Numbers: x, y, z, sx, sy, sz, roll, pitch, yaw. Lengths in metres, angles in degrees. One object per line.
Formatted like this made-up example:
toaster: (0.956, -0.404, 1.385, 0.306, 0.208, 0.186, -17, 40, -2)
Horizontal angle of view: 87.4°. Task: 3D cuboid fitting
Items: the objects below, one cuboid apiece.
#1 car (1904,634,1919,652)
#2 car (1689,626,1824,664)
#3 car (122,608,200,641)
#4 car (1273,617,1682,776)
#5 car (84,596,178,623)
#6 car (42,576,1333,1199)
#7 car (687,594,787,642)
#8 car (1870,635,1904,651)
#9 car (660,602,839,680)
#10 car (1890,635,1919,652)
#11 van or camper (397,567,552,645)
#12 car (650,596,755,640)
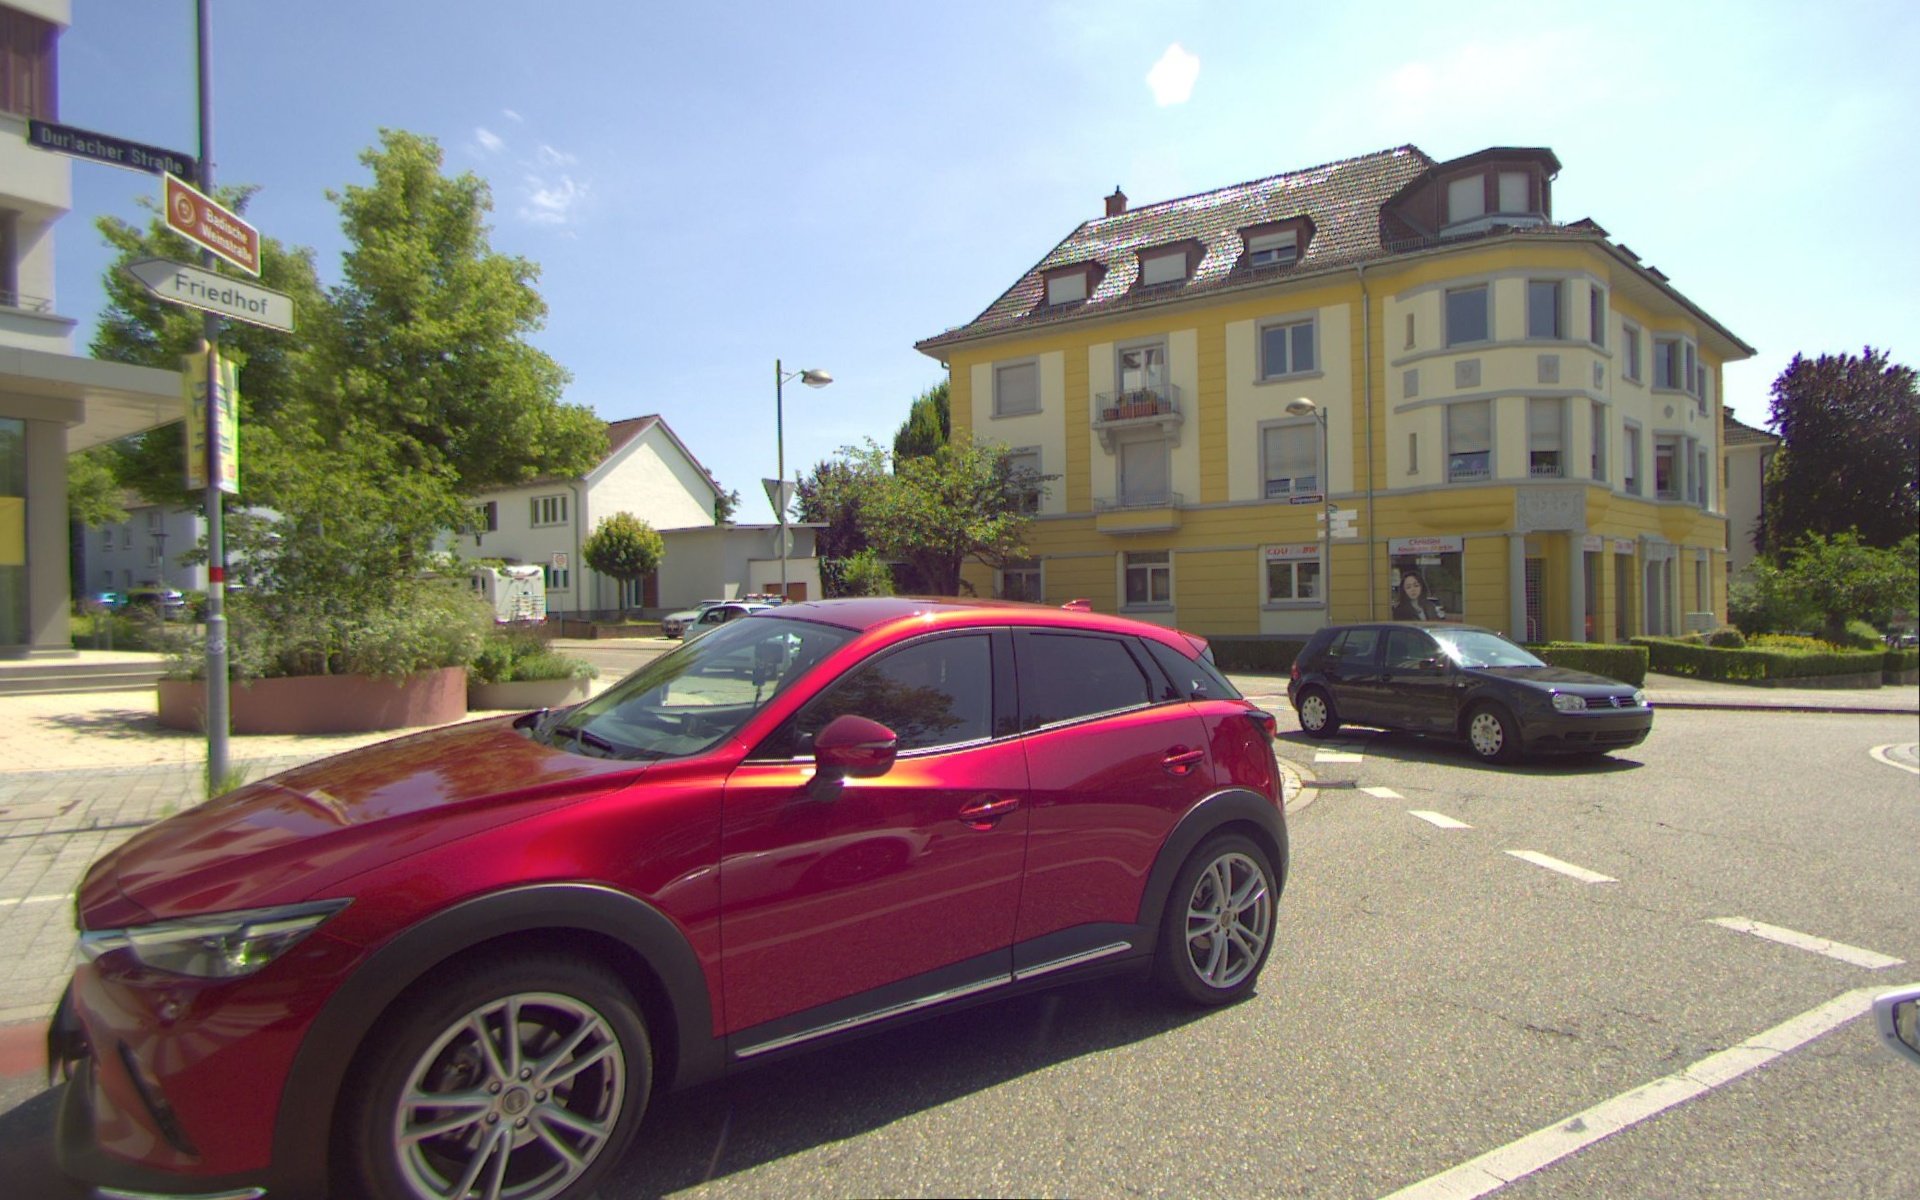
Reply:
car: (85.502, 3.796, 89.002, 1.966, 1.529, 4.406, 0, -1, 34)
car: (34.753, 1.933, 43.976, 4.339, 1.529, 1.997, 0, -1, 29)
car: (-39.058, 1.171, 49.086, 3.923, 1.525, 1.752, 0, -1, 32)
car: (5.681, 0.959, 11.620, 1.692, 1.466, 4.034, -1, -1, -24)
car: (-50.826, 0.603, 61.667, 1.782, 1.630, 4.117, 1, -1, 24)
car: (-0.550, 0.749, 3.671, 3.955, 1.525, 1.738, 1, -1, -37)
car: (-7.916, 0.619, 36.007, 1.721, 1.607, 3.993, 0, -1, 17)
car: (95.139, 4.382, 103.085, 1.967, 1.508, 3.987, 2, 0, 35)
car: (-4.819, 0.853, 22.775, 4.094, 1.545, 1.654, 1, 1, 36)
car: (88.763, 4.029, 93.882, 1.966, 1.529, 4.406, 0, -1, 34)
van or camper: (-17.855, 0.153, 36.862, 5.782, 2.674, 2.269, 0, 2, 31)
car: (-9.873, 0.695, 38.777, 1.724, 1.607, 3.987, 0, -1, 27)
